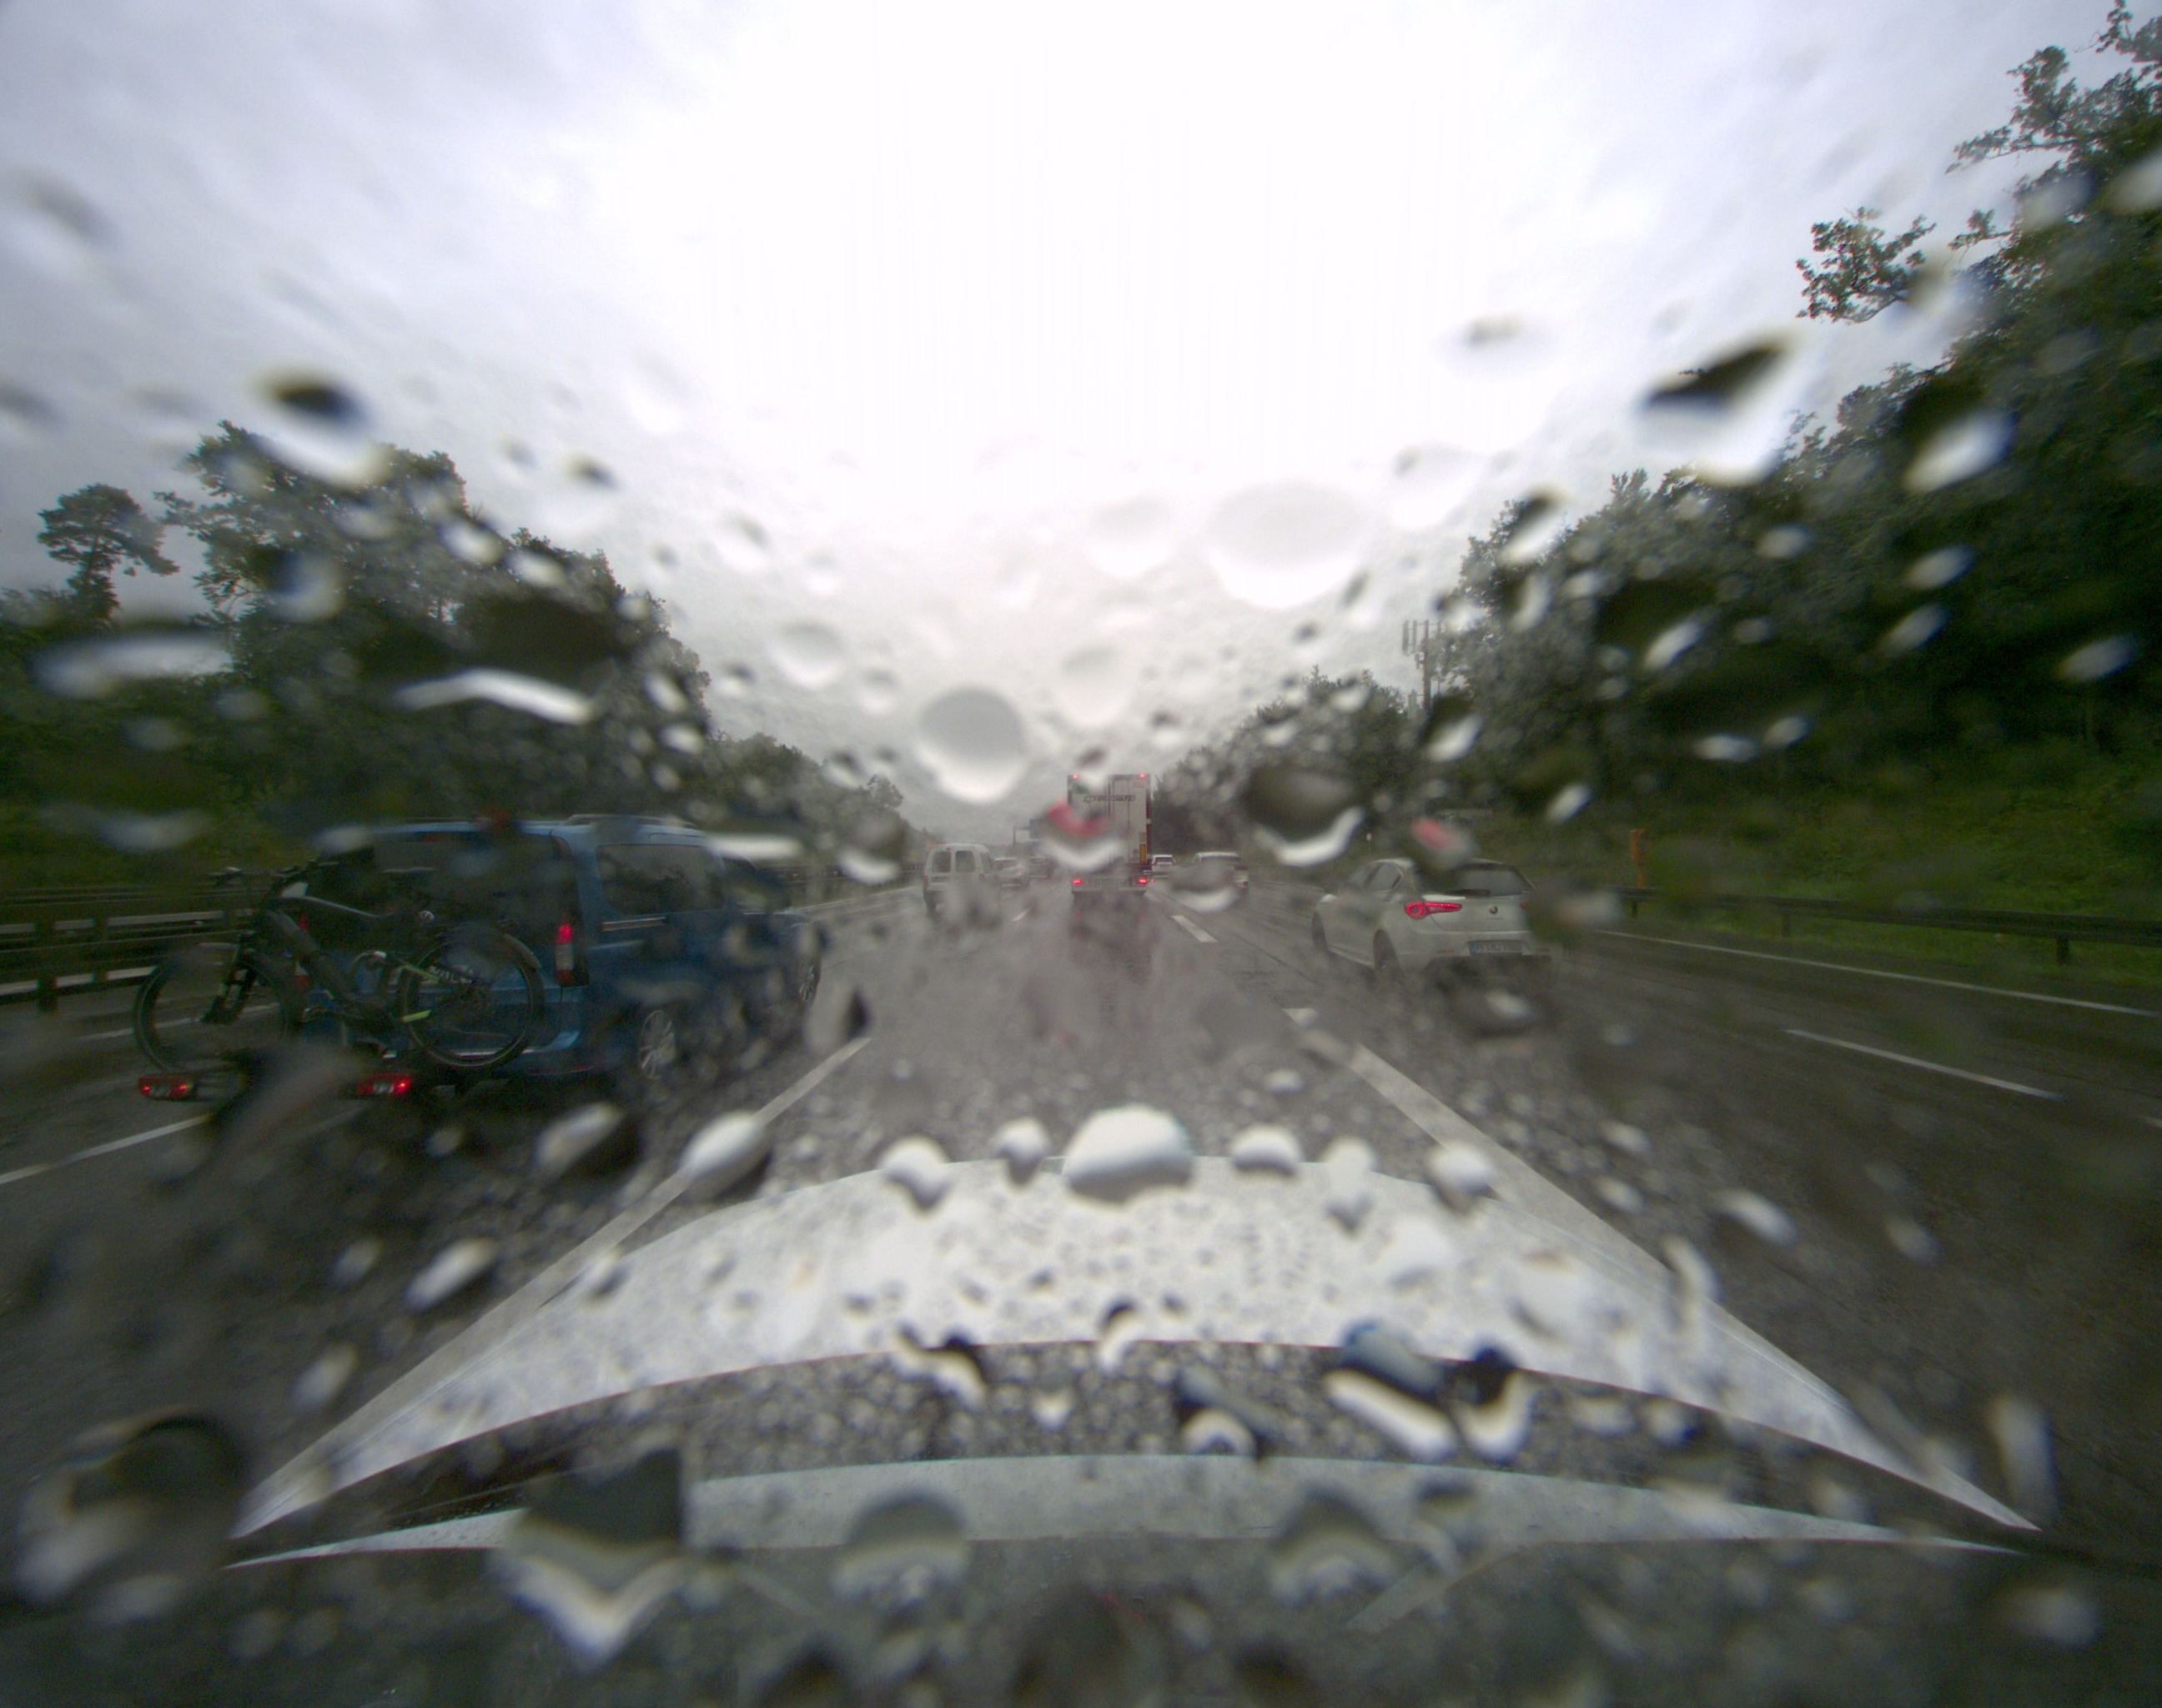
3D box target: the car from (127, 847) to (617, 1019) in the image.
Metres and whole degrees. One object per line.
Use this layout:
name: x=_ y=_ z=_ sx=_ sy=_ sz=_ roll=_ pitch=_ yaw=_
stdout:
car: x=-7.863 y=0.728 z=9.790 sx=1.838 sy=1.591 sz=4.469 roll=0 pitch=0 yaw=2

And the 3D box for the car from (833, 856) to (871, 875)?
car: x=-19.117 y=0.919 z=68.270 sx=1.830 sy=1.497 sz=4.609 roll=-1 pitch=0 yaw=1

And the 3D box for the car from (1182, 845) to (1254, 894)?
car: x=4.528 y=0.477 z=27.565 sx=1.838 sy=1.522 sz=4.345 roll=0 pitch=0 yaw=2

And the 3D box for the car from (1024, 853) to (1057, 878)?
car: x=-2.745 y=0.748 z=55.572 sx=1.838 sy=1.591 sz=4.469 roll=0 pitch=0 yaw=2

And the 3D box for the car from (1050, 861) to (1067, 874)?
car: x=-2.557 y=1.514 z=93.294 sx=1.840 sy=1.330 sz=4.464 roll=-1 pitch=0 yaw=-1

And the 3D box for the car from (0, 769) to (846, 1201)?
car: x=-3.762 y=0.581 z=6.156 sx=2.260 sy=1.912 sz=5.020 roll=0 pitch=0 yaw=3

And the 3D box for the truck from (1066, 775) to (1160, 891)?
truck: x=1.119 y=-0.598 z=30.749 sx=2.862 sy=3.562 sz=11.305 roll=-1 pitch=-1 yaw=1

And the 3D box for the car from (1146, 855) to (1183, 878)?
car: x=5.331 y=0.785 z=52.576 sx=1.999 sy=1.394 sz=4.569 roll=0 pitch=0 yaw=1

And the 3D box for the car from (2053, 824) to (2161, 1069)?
car: x=7.870 y=0.597 z=3.442 sx=1.982 sy=1.583 sz=4.771 roll=0 pitch=0 yaw=3

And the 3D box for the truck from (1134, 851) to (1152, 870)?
truck: x=9.550 y=0.951 z=125.425 sx=2.579 sy=2.941 sz=6.460 roll=0 pitch=0 yaw=2

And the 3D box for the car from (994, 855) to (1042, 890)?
car: x=-3.025 y=0.840 z=39.690 sx=1.838 sy=1.591 sz=4.074 roll=0 pitch=0 yaw=2

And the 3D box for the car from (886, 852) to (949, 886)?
car: x=-8.315 y=0.735 z=41.932 sx=2.083 sy=1.504 sz=4.756 roll=-3 pitch=1 yaw=1

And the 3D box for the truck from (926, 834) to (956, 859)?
truck: x=-22.784 y=-1.178 z=133.094 sx=2.692 sy=3.931 sz=10.036 roll=-1 pitch=0 yaw=3

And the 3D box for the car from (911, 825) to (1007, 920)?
car: x=-3.574 y=0.488 z=24.813 sx=2.206 sy=2.573 sz=5.013 roll=0 pitch=0 yaw=-1

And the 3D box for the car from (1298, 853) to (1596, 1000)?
car: x=4.183 y=0.708 z=10.229 sx=1.882 sy=1.425 sz=4.485 roll=0 pitch=0 yaw=2
